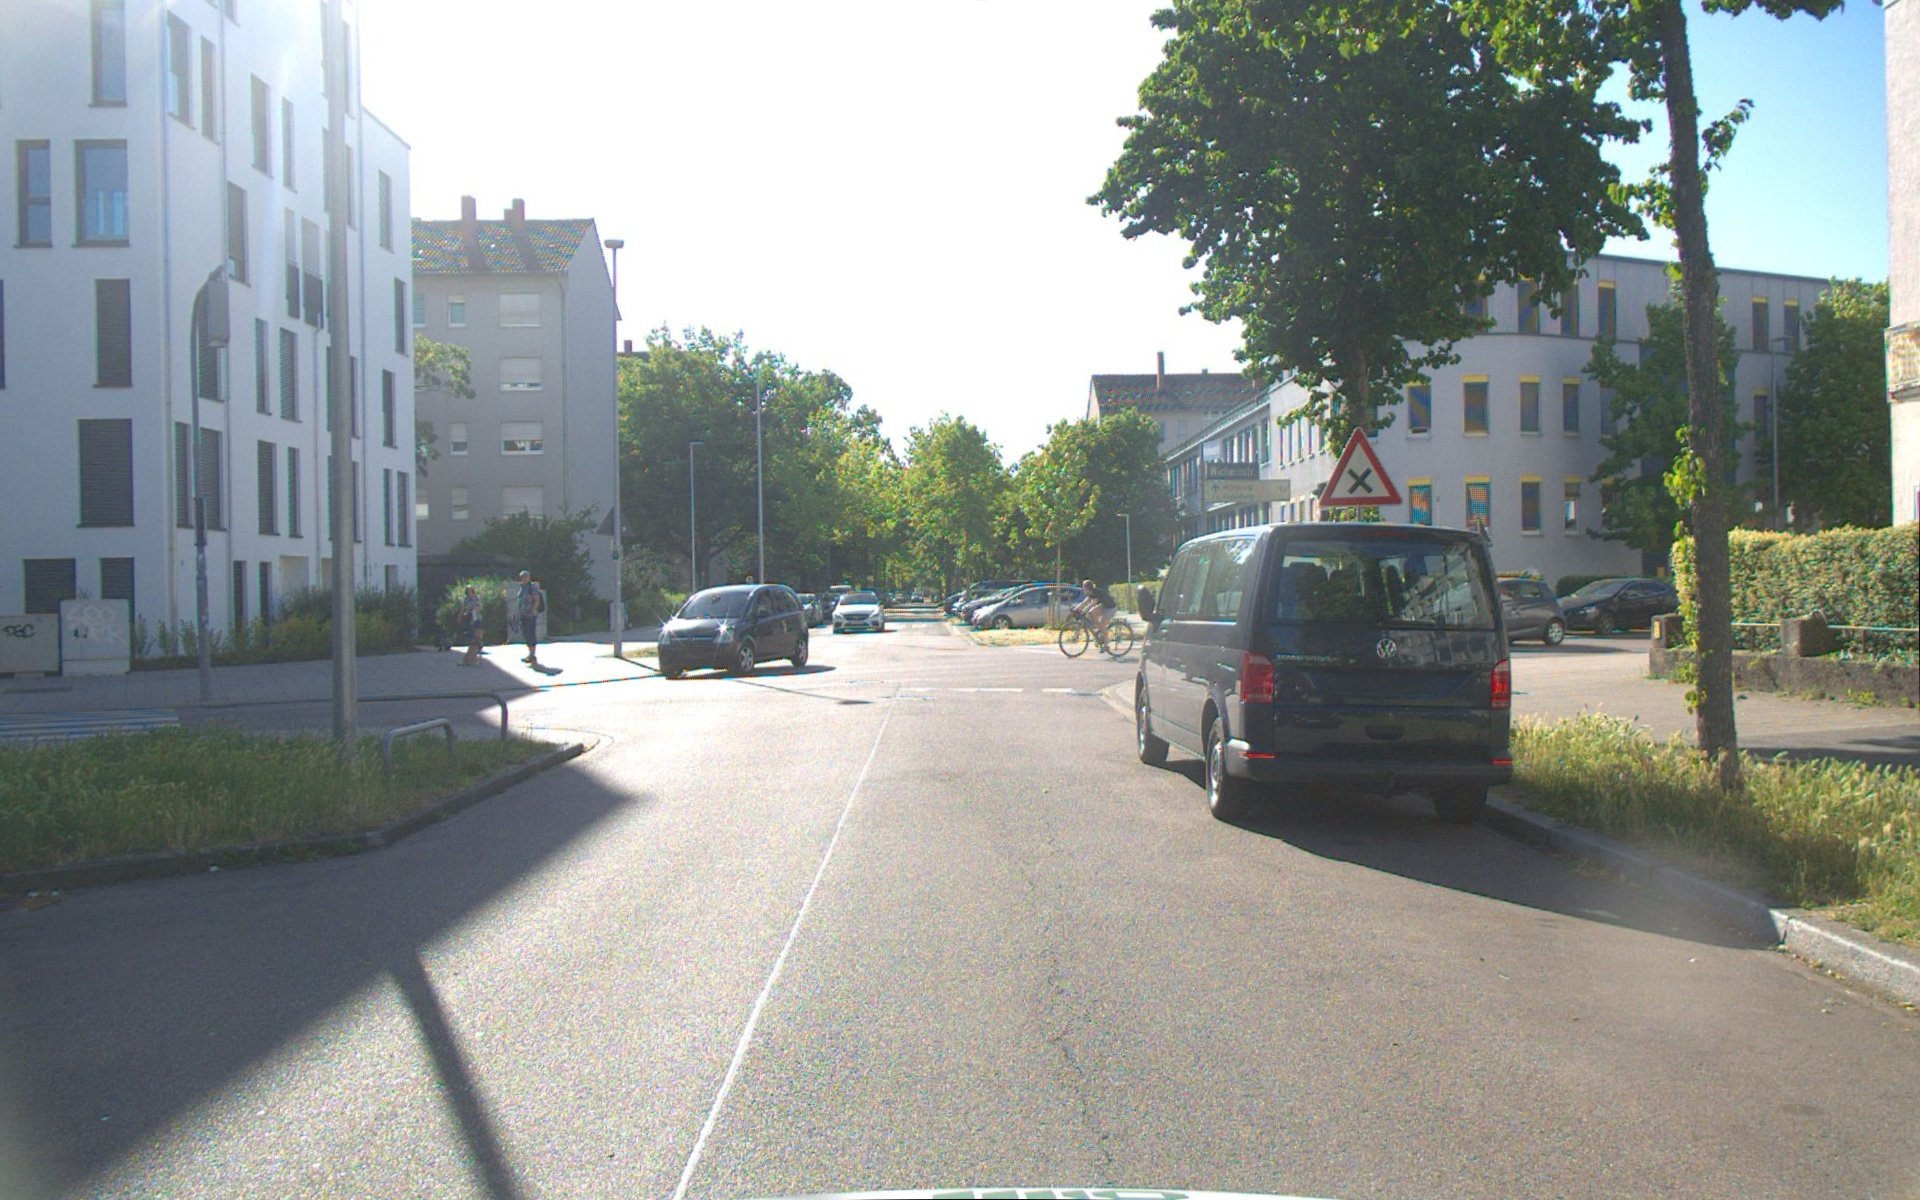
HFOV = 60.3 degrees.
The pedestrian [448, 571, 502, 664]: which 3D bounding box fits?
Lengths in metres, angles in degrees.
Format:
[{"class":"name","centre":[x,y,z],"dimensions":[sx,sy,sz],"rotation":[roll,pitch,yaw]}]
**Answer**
[{"class":"pedestrian","centre":[-11.476,0.392,39.173],"dimensions":[0.762,2.157,0.953],"rotation":[1,2,42]}]

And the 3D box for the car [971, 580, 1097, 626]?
[{"class":"car","centre":[2.435,0.104,54.901],"dimensions":[4.008,1.518,1.727],"rotation":[0,0,-4]}]

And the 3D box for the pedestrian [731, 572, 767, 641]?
[{"class":"pedestrian","centre":[-5.458,0.167,42.920],"dimensions":[0.853,1.744,0.978],"rotation":[-1,0,-5]}]

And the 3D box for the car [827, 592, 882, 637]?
[{"class":"car","centre":[-3.889,0.525,61.385],"dimensions":[1.847,1.531,4.636],"rotation":[2,0,-2]}]

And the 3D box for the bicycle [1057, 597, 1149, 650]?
[{"class":"bicycle","centre":[2.900,0.467,33.386],"dimensions":[1.892,1.029,0.545],"rotation":[0,-1,-30]}]

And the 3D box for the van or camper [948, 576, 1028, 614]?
[{"class":"van or camper","centre":[1.387,-0.246,83.560],"dimensions":[3.906,1.803,1.999],"rotation":[-1,0,-2]}]

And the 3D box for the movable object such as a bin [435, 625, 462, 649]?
[{"class":"movable object such as a bin","centre":[-12.286,0.889,39.737],"dimensions":[0.266,0.551,0.686],"rotation":[0,0,19]}]

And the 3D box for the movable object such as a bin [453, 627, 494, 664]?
[{"class":"movable object such as a bin","centre":[-9.747,0.912,33.139],"dimensions":[0.266,0.691,0.848],"rotation":[-1,1,26]}]

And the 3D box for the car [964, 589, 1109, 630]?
[{"class":"car","centre":[2.608,0.327,56.943],"dimensions":[4.775,1.296,1.727],"rotation":[-1,0,-6]}]

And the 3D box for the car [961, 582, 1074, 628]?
[{"class":"car","centre":[2.145,0.181,62.950],"dimensions":[4.120,1.624,1.999],"rotation":[1,0,-3]}]

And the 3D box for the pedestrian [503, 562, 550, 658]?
[{"class":"pedestrian","centre":[-8.902,0.208,33.975],"dimensions":[0.829,1.918,0.789],"rotation":[1,-1,-11]}]

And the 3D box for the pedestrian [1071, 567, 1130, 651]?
[{"class":"pedestrian","centre":[2.837,0.183,33.323],"dimensions":[0.680,1.669,1.040],"rotation":[1,-1,42]}]

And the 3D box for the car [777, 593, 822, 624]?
[{"class":"car","centre":[-6.915,0.364,71.563],"dimensions":[1.596,1.255,4.192],"rotation":[1,0,-1]}]

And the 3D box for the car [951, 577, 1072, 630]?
[{"class":"car","centre":[1.848,0.128,60.123],"dimensions":[4.194,1.795,1.999],"rotation":[1,0,-4]}]

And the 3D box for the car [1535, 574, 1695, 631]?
[{"class":"car","centre":[17.615,0.039,44.470],"dimensions":[4.163,1.435,1.778],"rotation":[-1,1,-29]}]

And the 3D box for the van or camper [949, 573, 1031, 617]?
[{"class":"van or camper","centre":[1.422,-0.230,80.695],"dimensions":[3.906,2.049,1.999],"rotation":[-1,0,-2]}]

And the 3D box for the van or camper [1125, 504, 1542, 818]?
[{"class":"van or camper","centre":[2.579,0.392,12.906],"dimensions":[1.949,1.895,5.386],"rotation":[1,0,-1]}]

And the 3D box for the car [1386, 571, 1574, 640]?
[{"class":"car","centre":[12.074,0.125,38.373],"dimensions":[4.075,1.530,1.827],"rotation":[0,0,-27]}]

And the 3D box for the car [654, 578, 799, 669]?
[{"class":"car","centre":[-4.288,0.424,30.964],"dimensions":[1.700,1.557,4.116],"rotation":[1,0,6]}]
